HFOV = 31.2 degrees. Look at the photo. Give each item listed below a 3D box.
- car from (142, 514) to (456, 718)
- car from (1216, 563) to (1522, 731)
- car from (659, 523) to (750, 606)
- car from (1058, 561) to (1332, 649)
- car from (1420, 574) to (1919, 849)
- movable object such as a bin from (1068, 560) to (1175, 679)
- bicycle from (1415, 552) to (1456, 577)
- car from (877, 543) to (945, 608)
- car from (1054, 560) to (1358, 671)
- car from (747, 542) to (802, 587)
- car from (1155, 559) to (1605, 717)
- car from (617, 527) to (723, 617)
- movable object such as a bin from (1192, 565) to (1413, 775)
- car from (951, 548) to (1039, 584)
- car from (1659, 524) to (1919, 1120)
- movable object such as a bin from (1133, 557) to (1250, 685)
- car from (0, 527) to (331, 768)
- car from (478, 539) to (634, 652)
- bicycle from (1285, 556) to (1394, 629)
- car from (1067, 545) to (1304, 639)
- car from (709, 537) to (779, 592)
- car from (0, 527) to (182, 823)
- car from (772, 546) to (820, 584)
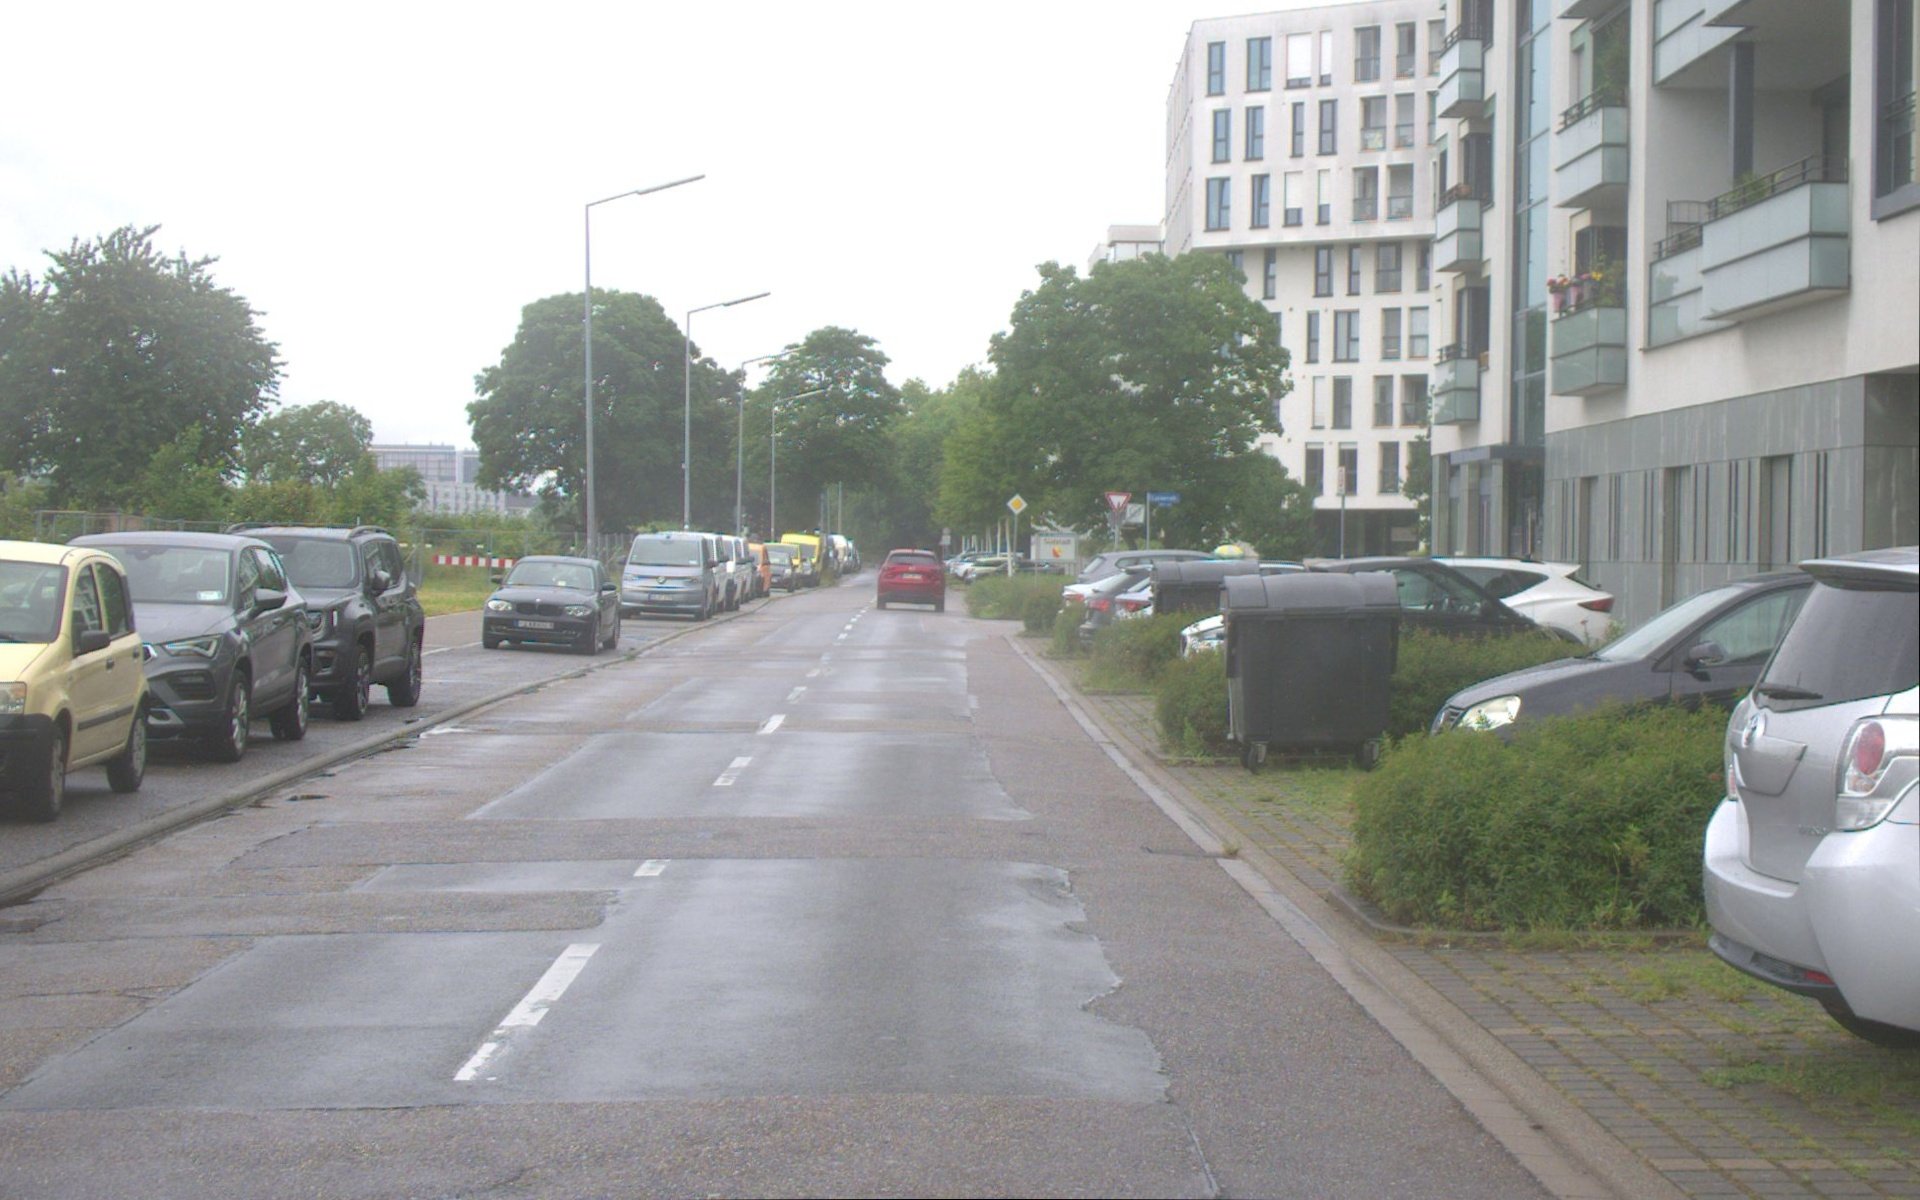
[{"bbox_3d":[-5.996,0.093,31.745,1.753,1.687,4.880,2,1,2],"label":"car"},{"bbox_3d":[3.808,0.418,32.204,2.623,1.501,1.208,-1,1,-6],"label":"car"},{"bbox_3d":[-6.723,-0.964,91.057,1.960,2.051,5.274,3,1,0],"label":"car"},{"bbox_3d":[3.893,0.070,57.473,4.409,1.400,1.911,-1,1,-1],"label":"car"},{"bbox_3d":[4.701,0.608,19.884,3.845,1.486,1.763,0,1,1],"label":"car"},{"bbox_3d":[2.092,0.239,44.786,1.300,1.521,1.582,0,1,0],"label":"movable object such as a bin"},{"bbox_3d":[20.112,-1.510,145.323,0.724,1.029,2.068,2,1,39],"label":"bicycle"},{"bbox_3d":[-1.352,-0.689,93.840,1.756,1.700,4.000,1,1,-2],"label":"car"},{"bbox_3d":[3.364,0.198,47.624,4.060,1.491,2.058,0,1,0],"label":"car"},{"bbox_3d":[-7.044,-1.371,130.876,1.804,1.556,4.033,4,1,0],"label":"car"},{"bbox_3d":[4.240,0.367,35.224,4.346,1.525,1.893,-1,1,-1],"label":"car"},{"bbox_3d":[-6.486,-0.638,77.460,1.956,1.895,4.995,2,1,-1],"label":"car"},{"bbox_3d":[2.535,0.504,25.609,1.495,1.488,1.156,-1,1,0],"label":"movable object such as a bin"},{"bbox_3d":[1.882,-1.845,185.947,4.539,1.679,1.886,-3,1,-3],"label":"car"},{"bbox_3d":[4.403,0.639,10.358,4.207,1.638,1.687,1,0,-1],"label":"car"},{"bbox_3d":[2.800,0.243,41.839,1.300,1.521,1.582,0,1,0],"label":"movable object such as a bin"},{"bbox_3d":[-5.911,0.285,25.434,1.752,1.585,4.133,2,1,-1],"label":"car"},{"bbox_3d":[-6.162,-0.095,52.862,1.847,1.556,4.152,4,1,-1],"label":"car"},{"bbox_3d":[8.023,-0.168,72.647,2.190,1.517,0.630,1,1,20],"label":"bicycle"},{"bbox_3d":[4.062,-0.152,62.370,4.089,1.618,1.966,-1,1,-2],"label":"car"},{"bbox_3d":[-7.128,-1.180,113.903,1.940,1.761,4.331,2,1,1],"label":"car"},{"bbox_3d":[-5.887,0.361,20.321,1.725,1.569,4.211,2,0,-2],"label":"car"},{"bbox_3d":[-7.430,-1.572,155.873,1.993,1.588,5.018,4,0,-2],"label":"car"}]
